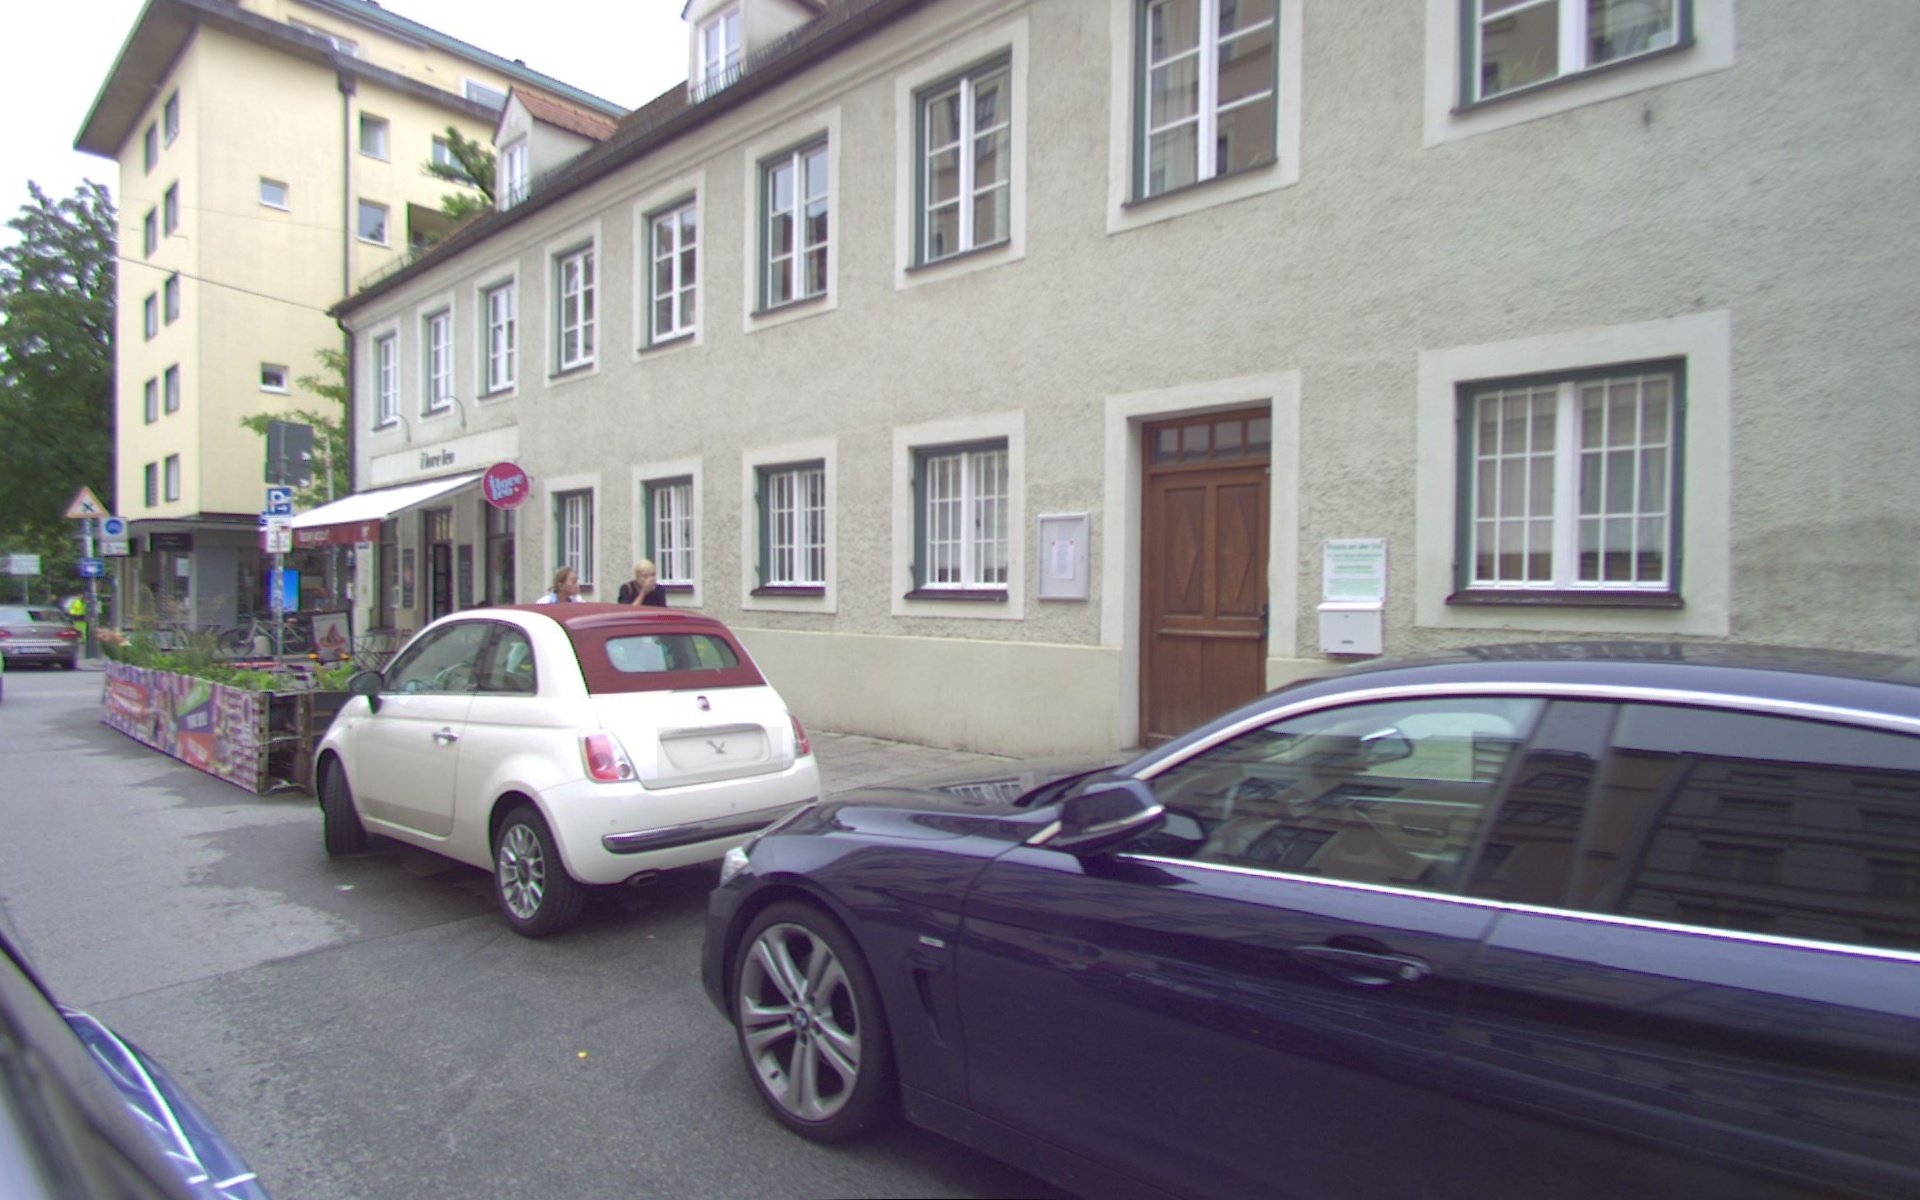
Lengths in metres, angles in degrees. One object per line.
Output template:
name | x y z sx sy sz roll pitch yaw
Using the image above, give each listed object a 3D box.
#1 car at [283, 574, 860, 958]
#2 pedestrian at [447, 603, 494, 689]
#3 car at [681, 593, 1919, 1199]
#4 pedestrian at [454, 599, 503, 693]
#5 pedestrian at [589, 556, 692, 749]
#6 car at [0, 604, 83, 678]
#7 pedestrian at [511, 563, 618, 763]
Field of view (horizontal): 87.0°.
car | -2.332 0.649 5.716 3.420 1.526 1.553 0 1 39
pedestrian | -7.233 0.673 14.950 0.501 1.222 0.596 -2 -1 -34
car | 1.367 0.705 2.294 4.268 1.412 1.838 0 1 42
pedestrian | -6.785 0.641 14.253 0.515 1.276 0.549 -2 -1 -34
pedestrian | -2.985 0.464 9.450 0.805 1.711 0.574 0 0 39
car | -21.051 0.858 22.641 3.999 1.511 1.689 0 0 42
pedestrian | -3.372 0.509 8.626 0.662 1.610 0.607 0 0 39
